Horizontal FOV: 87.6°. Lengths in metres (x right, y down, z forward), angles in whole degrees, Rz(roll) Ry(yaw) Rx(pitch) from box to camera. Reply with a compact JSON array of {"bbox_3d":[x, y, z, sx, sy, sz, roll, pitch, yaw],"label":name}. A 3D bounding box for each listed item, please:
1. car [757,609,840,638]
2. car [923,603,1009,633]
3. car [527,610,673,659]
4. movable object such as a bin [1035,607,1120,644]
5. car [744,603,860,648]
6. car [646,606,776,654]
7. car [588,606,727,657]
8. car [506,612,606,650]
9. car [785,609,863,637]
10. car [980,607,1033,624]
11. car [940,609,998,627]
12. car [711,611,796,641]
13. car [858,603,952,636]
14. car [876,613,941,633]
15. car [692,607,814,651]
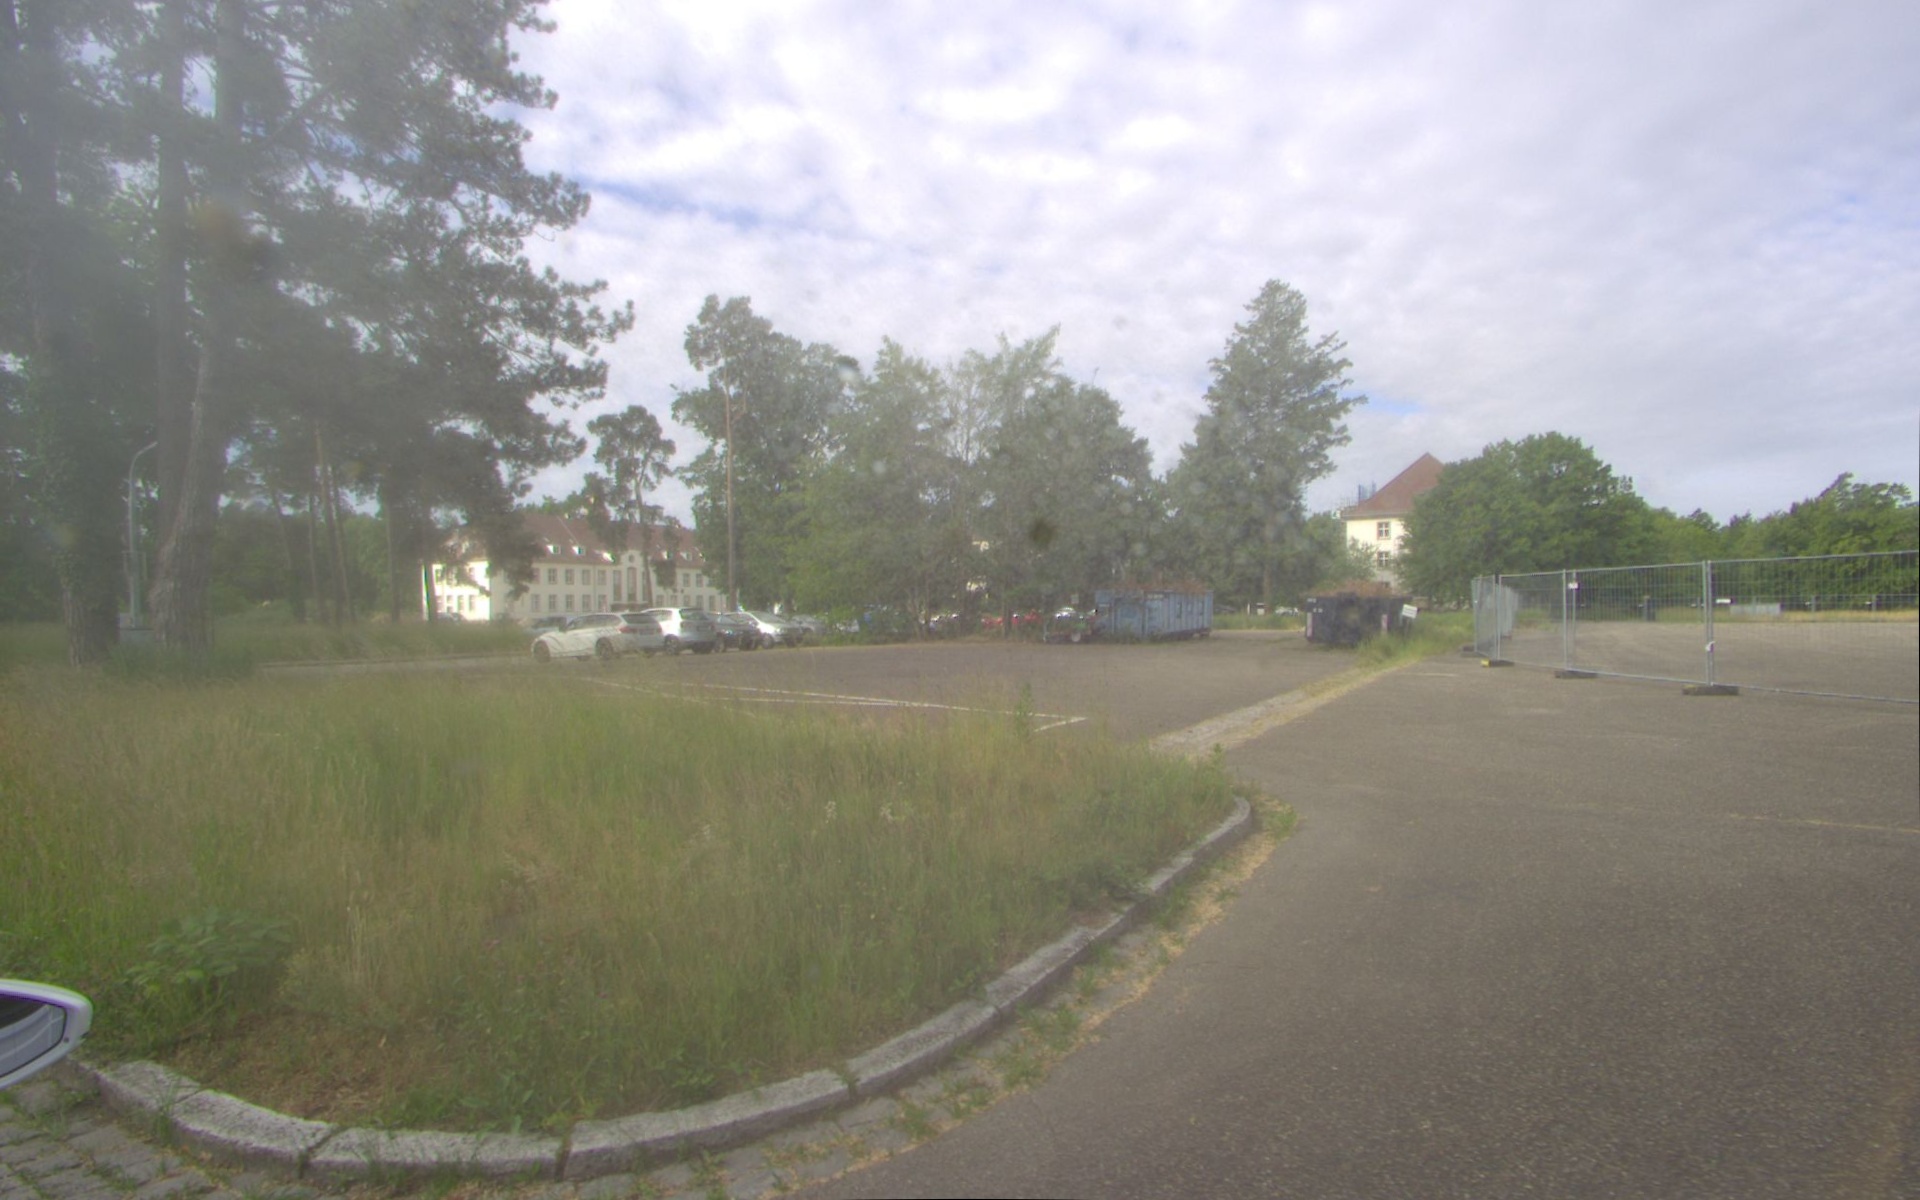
[{"bbox_3d":[-9.015,1.310,55.880,4.378,1.544,1.751,-1,0,28],"label":"car"},{"bbox_3d":[0.320,0.989,55.601,4.378,1.598,1.865,-1,0,28],"label":"car"},{"bbox_3d":[-11.134,1.063,30.889,4.379,1.434,1.751,-1,0,28],"label":"car"},{"bbox_3d":[3.778,0.810,32.270,2.504,1.098,1.060,1,1,30],"label":"movable object such as a bin"},{"bbox_3d":[-6.380,1.014,40.410,4.378,1.708,1.865,-1,0,28],"label":"car"},{"bbox_3d":[-8.869,1.041,35.676,4.378,1.598,1.865,-1,0,28],"label":"car"},{"bbox_3d":[-10.051,1.006,33.250,4.378,1.598,1.865,-1,0,28],"label":"car"},{"bbox_3d":[-17.450,1.315,43.197,4.384,1.544,1.748,-1,0,33],"label":"car"},{"bbox_3d":[-7.989,1.333,58.709,4.378,1.544,1.751,-1,0,28],"label":"car"},{"bbox_3d":[3.712,1.236,79.999,3.935,1.373,1.657,-1,0,26],"label":"car"},{"bbox_3d":[0.641,1.318,73.023,3.933,1.225,1.658,-1,0,23],"label":"car"},{"bbox_3d":[-11.058,1.364,53.619,4.378,1.544,1.751,-1,0,28],"label":"car"},{"bbox_3d":[-2.757,0.986,50.290,4.378,1.598,1.865,-1,0,28],"label":"car"},{"bbox_3d":[-3.356,1.504,64.654,3.940,1.225,1.655,-1,0,30],"label":"car"},{"bbox_3d":[-7.904,1.081,38.222,4.378,1.598,1.865,-1,0,28],"label":"car"}]
